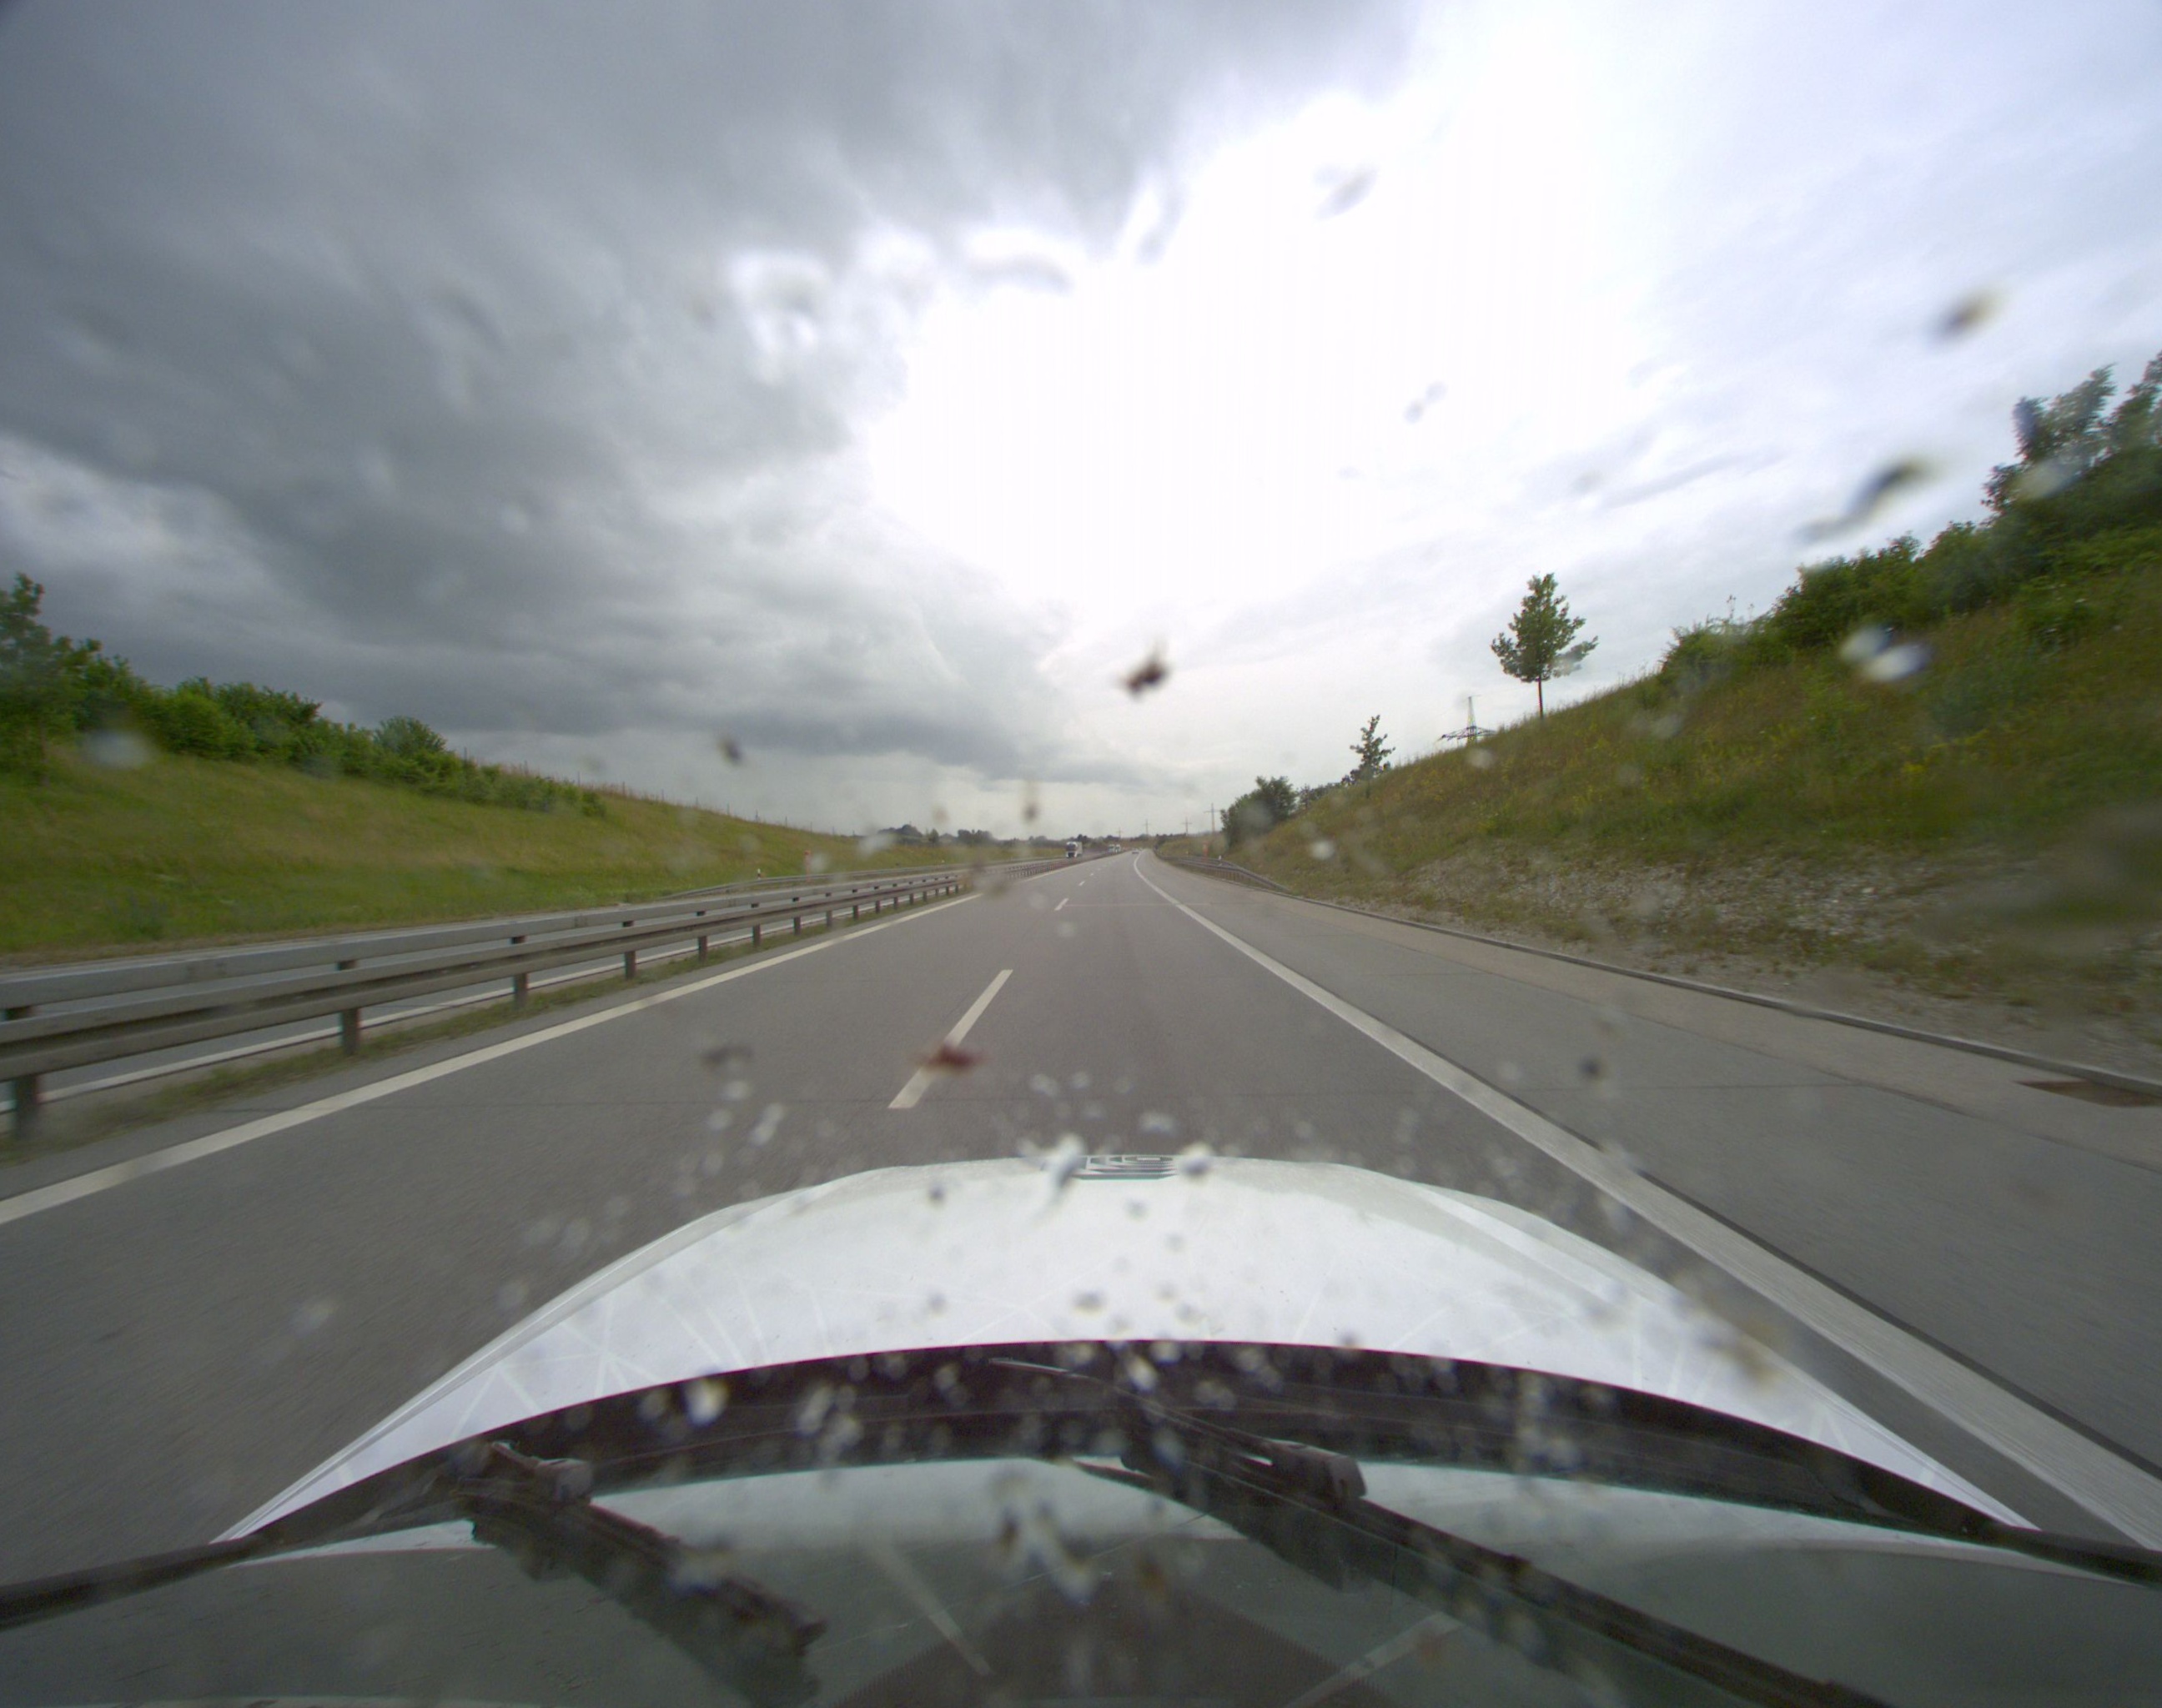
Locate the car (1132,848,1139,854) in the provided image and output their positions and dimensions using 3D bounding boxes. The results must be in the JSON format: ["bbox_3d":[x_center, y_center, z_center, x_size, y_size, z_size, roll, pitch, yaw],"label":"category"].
[{"bbox_3d":[17.054,-0.948,253.559,1.946,1.651,4.007,-2,-1,7],"label":"car"}]

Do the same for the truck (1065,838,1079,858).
[{"bbox_3d":[-2.118,-1.403,195.865,2.783,4.647,6.927,-2,0,4],"label":"truck"}]
